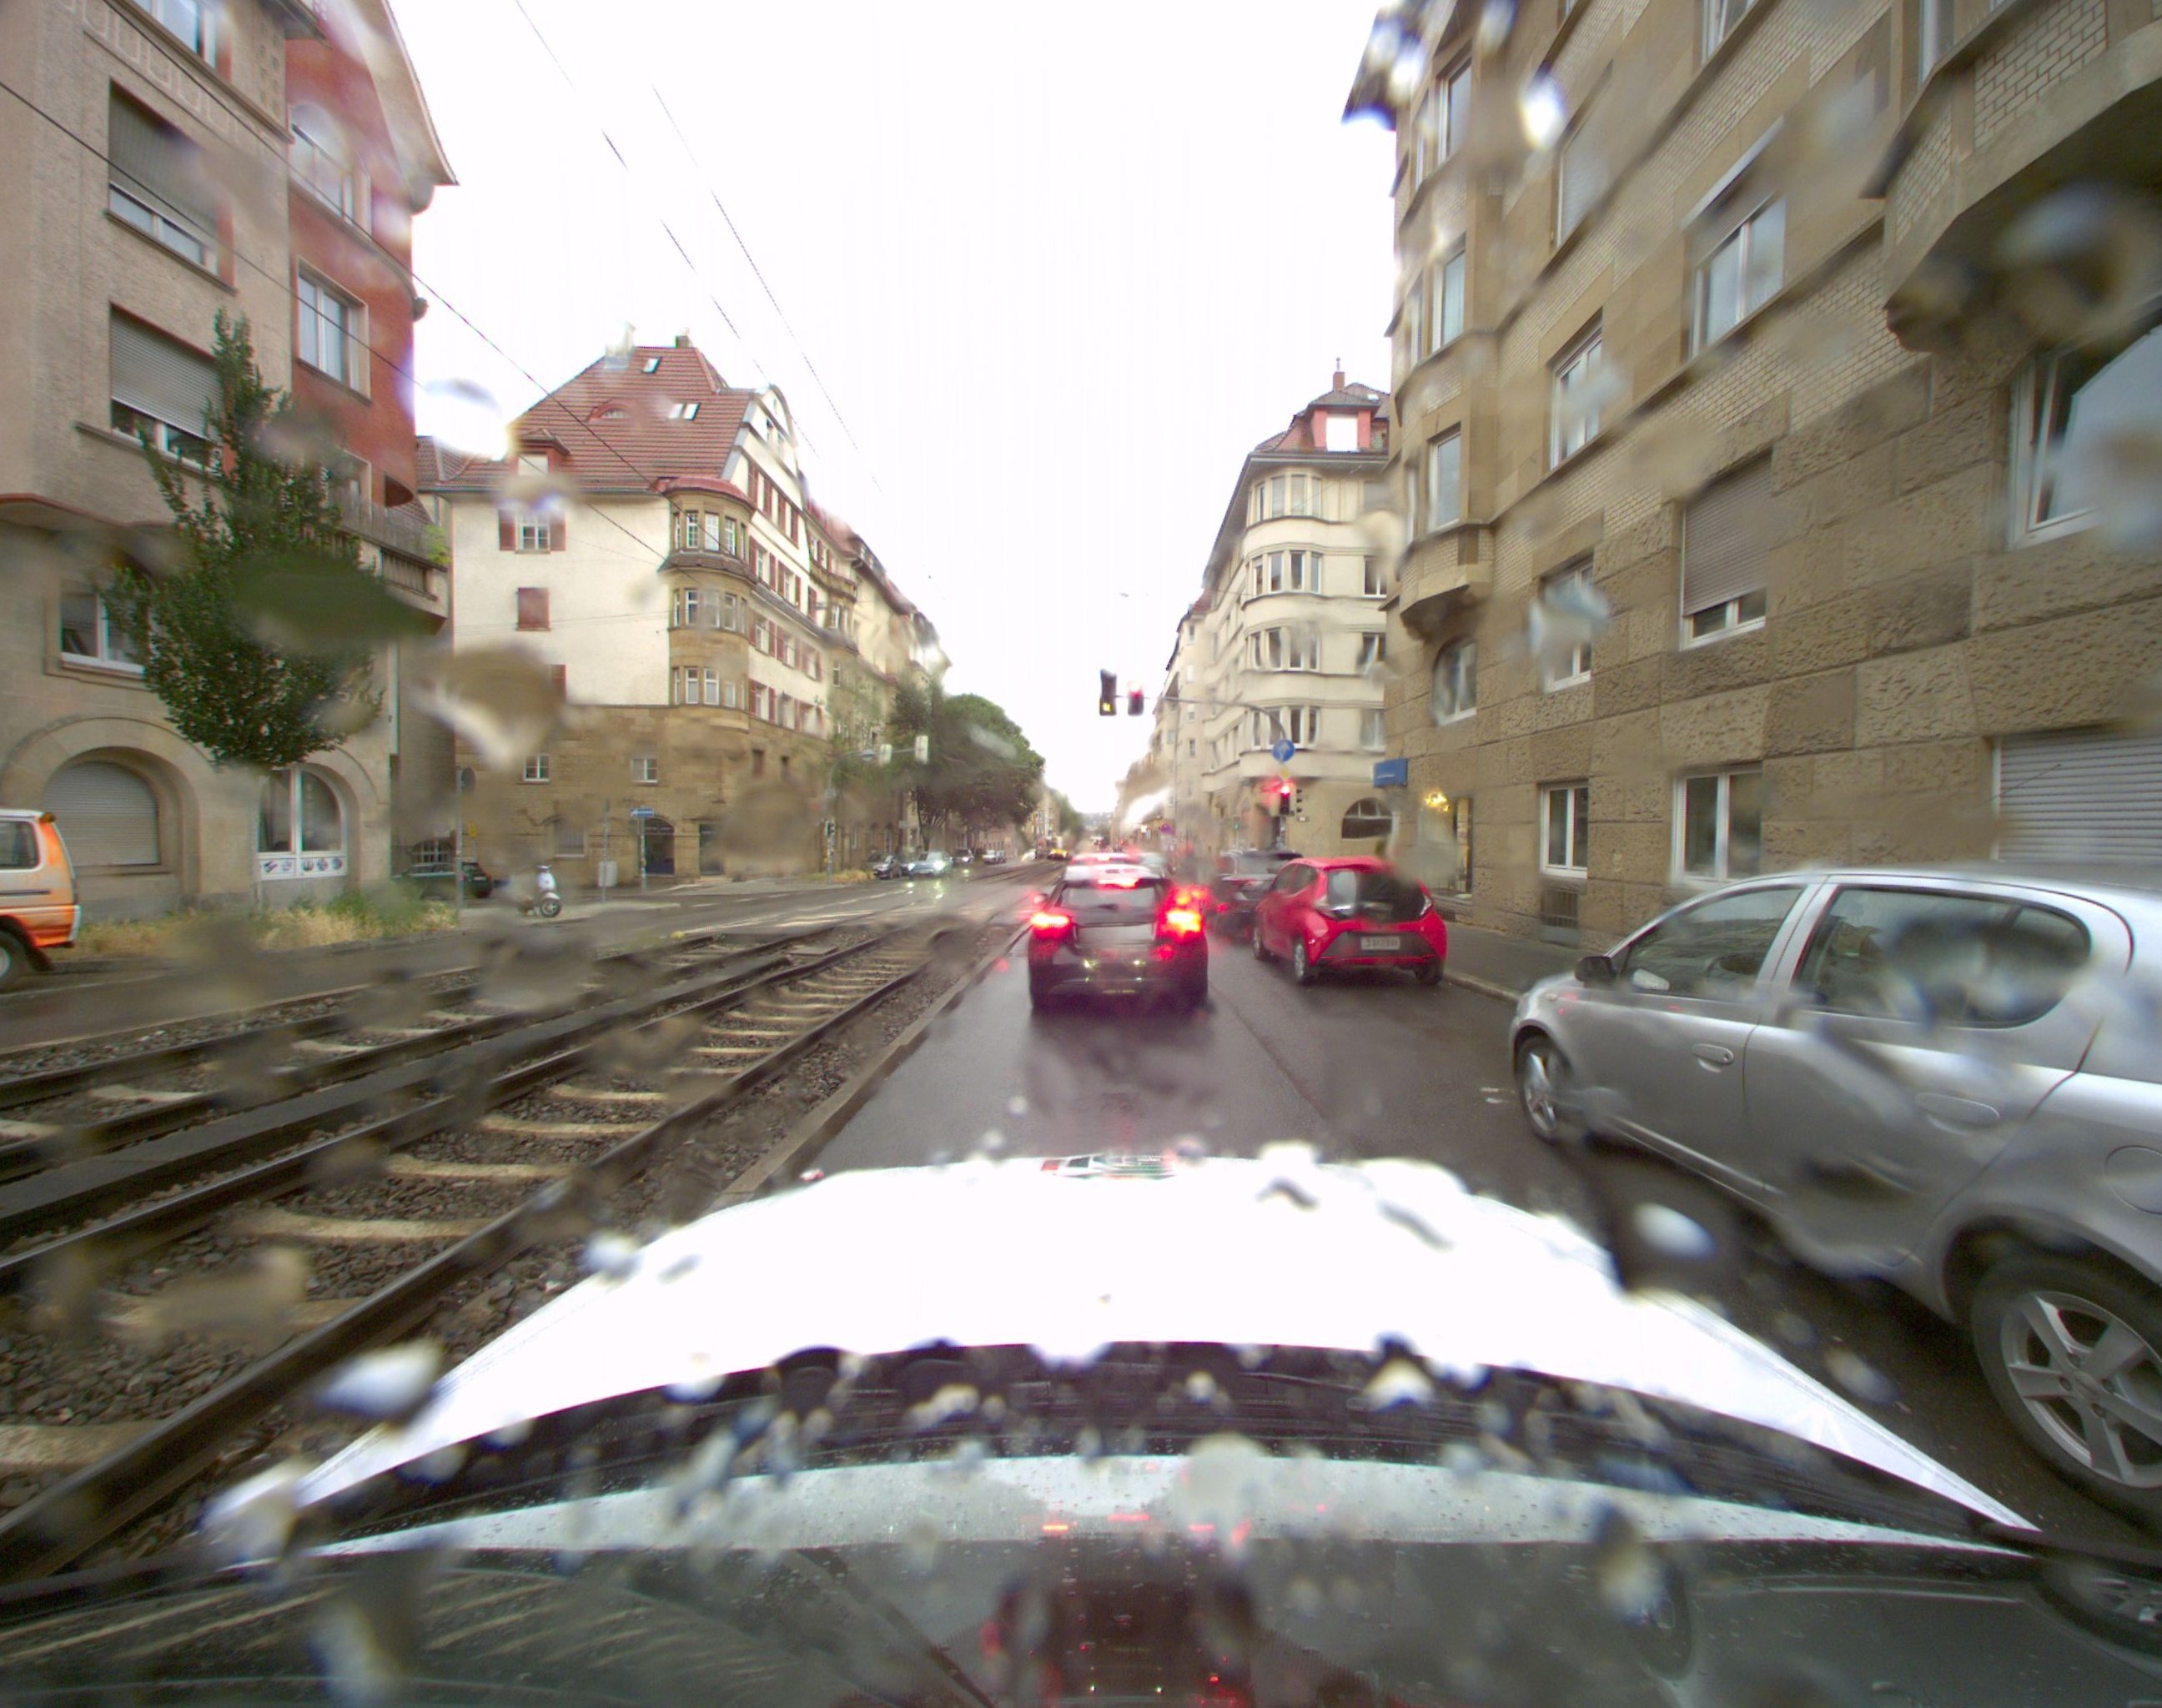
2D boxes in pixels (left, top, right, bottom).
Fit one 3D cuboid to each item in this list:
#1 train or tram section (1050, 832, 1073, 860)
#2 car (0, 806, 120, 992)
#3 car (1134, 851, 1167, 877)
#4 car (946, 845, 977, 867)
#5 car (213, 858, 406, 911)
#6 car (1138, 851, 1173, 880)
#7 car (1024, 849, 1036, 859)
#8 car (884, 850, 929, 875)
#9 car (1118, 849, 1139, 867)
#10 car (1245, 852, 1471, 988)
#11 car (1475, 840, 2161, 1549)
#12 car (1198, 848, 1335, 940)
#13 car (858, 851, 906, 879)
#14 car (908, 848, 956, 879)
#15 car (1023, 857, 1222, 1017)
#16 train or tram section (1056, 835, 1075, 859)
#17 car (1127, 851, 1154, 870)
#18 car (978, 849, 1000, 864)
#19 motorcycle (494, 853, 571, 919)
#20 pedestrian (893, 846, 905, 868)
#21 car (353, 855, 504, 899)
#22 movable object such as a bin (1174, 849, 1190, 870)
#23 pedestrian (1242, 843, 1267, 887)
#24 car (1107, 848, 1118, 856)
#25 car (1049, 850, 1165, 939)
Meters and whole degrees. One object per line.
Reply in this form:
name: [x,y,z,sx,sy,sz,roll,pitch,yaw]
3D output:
train or tram section: [-2.920,-1.203,125.922,2.736,4.061,17.216,0,0,1]
car: [-12.078,0.464,7.237,1.722,1.930,4.476,0,-1,0]
car: [4.121,0.600,49.042,1.705,1.468,4.775,0,0,2]
car: [-10.592,0.130,72.399,1.946,1.742,4.779,3,1,0]
car: [-22.455,0.872,23.816,3.972,1.467,1.747,0,-1,1]
car: [3.920,0.602,43.675,1.703,1.410,4.821,0,0,3]
car: [-8.606,0.001,137.457,1.775,1.502,4.062,0,-1,0]
car: [-10.989,0.542,51.673,1.775,1.460,4.978,0,0,0]
car: [4.359,0.385,74.596,1.833,1.608,4.765,0,0,4]
car: [3.347,0.711,10.552,1.700,1.453,3.531,1,0,-1]
car: [3.110,0.706,3.121,1.588,1.487,3.524,-1,0,2]
car: [3.445,0.676,15.826,1.860,1.549,3.992,1,0,2]
car: [-11.187,0.617,46.117,1.684,1.529,4.175,0,-1,0]
car: [-8.235,0.525,45.400,1.915,1.617,4.128,0,-1,0]
car: [0.441,0.767,9.431,1.828,1.453,3.903,0,0,2]
train or tram section: [-2.650,-1.225,142.227,2.736,4.061,15.663,0,0,1]
car: [4.494,0.517,61.962,1.783,1.385,4.396,0,0,1]
car: [-10.115,0.256,89.793,1.954,1.605,4.329,1,1,1]
motorcycle: [-12.024,0.673,17.849,1.761,1.375,0.772,-1,-1,33]
pedestrian: [-13.986,0.243,62.564,0.726,1.663,0.771,0,0,1]
car: [-24.443,0.845,30.638,3.977,1.574,1.998,0,-1,-2]
movable object such as a bin: [7.419,0.405,59.832,0.976,1.468,1.273,0,-1,1]
pedestrian: [6.749,0.409,31.639,0.801,1.687,0.754,0,-1,1]
car: [6.159,-0.312,159.249,1.879,1.525,4.249,1,0,3]
car: [0.519,0.706,16.243,1.986,1.525,4.247,1,0,2]
